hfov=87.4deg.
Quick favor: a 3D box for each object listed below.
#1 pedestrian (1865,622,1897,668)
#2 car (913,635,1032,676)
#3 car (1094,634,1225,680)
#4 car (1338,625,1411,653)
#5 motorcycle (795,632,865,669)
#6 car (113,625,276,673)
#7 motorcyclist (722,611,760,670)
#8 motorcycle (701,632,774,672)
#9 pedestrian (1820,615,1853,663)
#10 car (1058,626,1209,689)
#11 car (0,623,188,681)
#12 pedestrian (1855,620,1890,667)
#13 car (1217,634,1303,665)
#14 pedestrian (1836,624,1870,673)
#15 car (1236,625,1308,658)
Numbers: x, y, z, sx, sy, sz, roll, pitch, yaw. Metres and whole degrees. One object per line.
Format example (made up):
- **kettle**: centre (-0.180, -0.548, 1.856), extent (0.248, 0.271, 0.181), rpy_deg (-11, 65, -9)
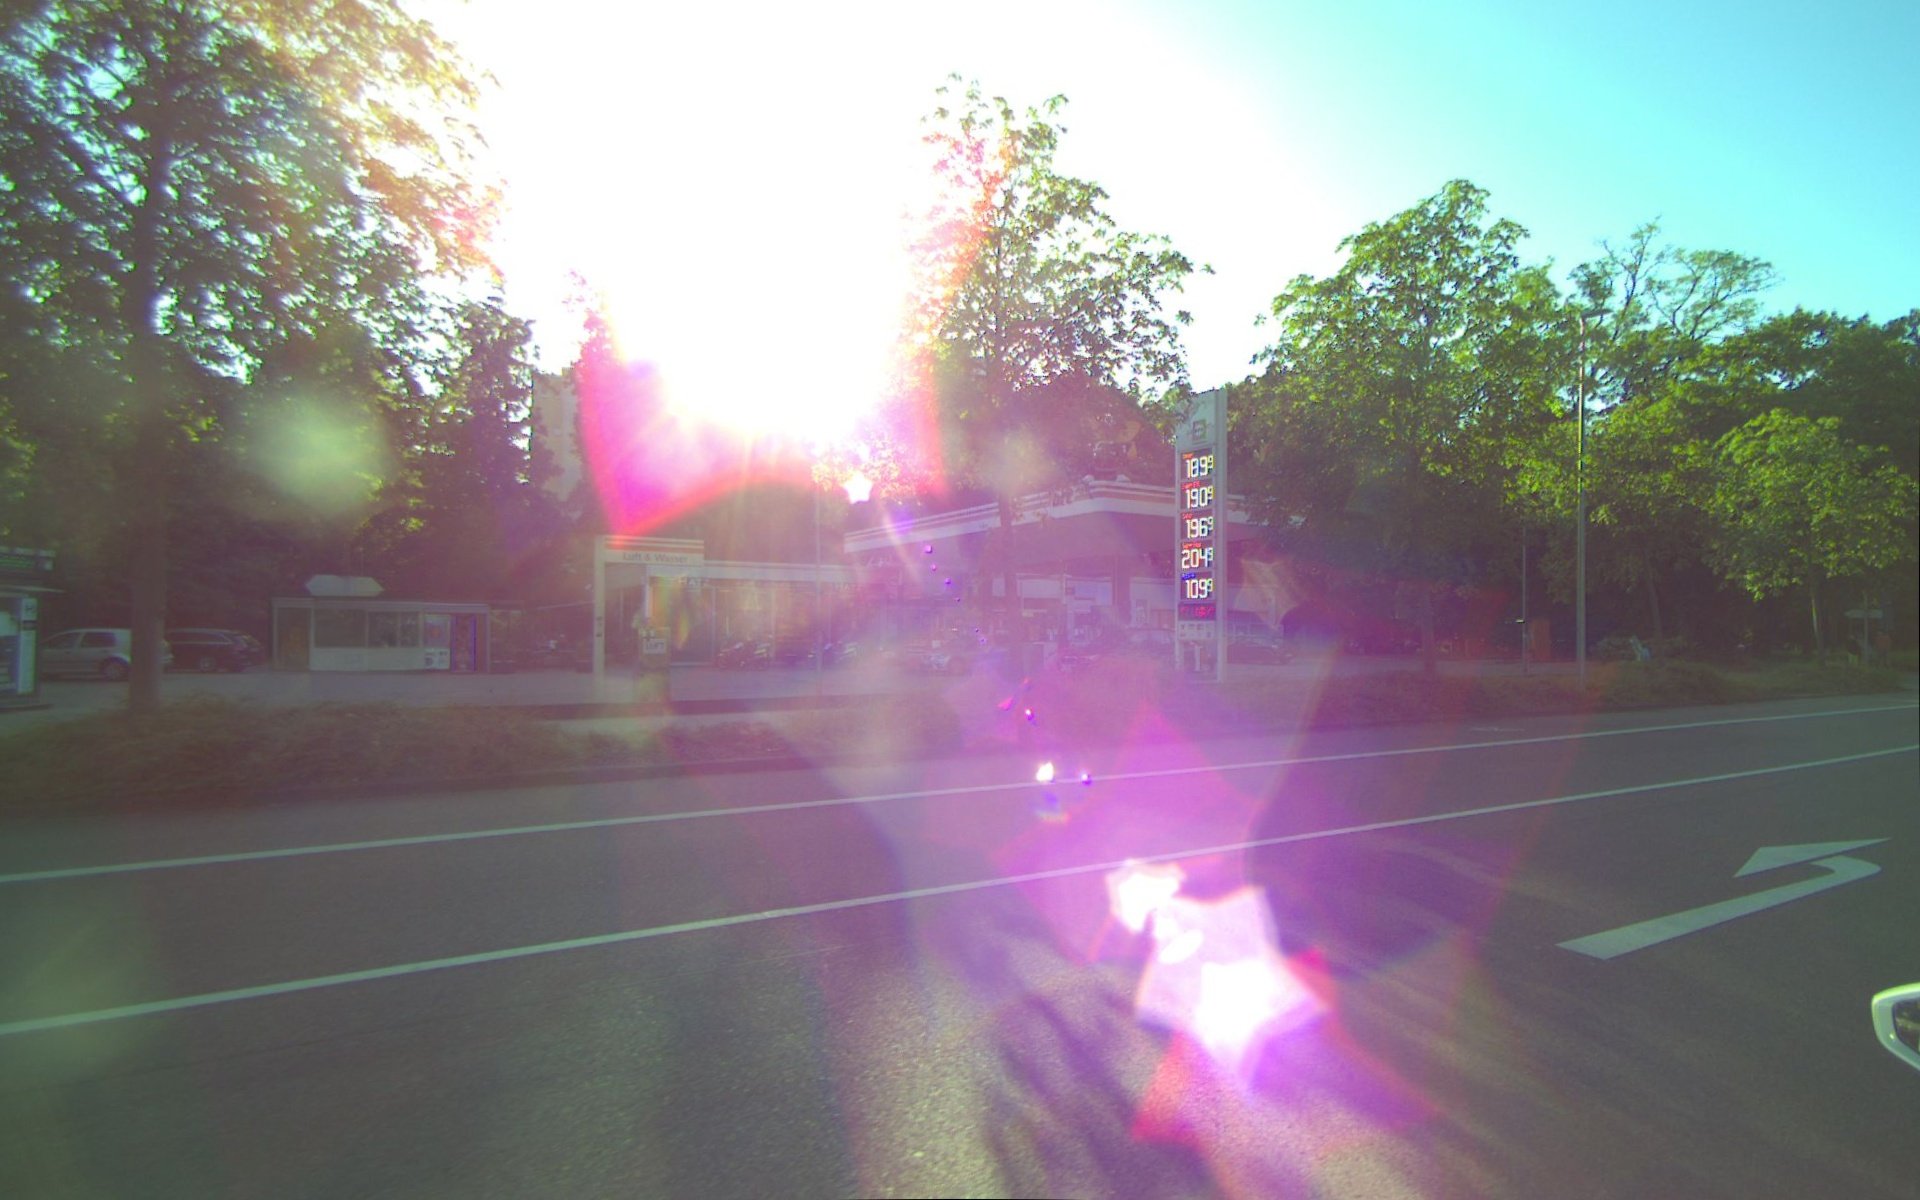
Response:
- **pedestrian**: centre (41.166, 2.003, 44.902), extent (0.732, 2.040, 0.719), rpy_deg (0, -1, 1)
- **car**: centre (0.468, 1.940, 35.849), extent (4.014, 1.394, 1.702), rpy_deg (1, -2, -32)
- **car**: centre (6.974, 1.955, 34.975), extent (4.526, 1.518, 1.702), rpy_deg (1, -2, -31)
- **car**: centre (28.574, 2.697, 69.280), extent (4.187, 1.844, 2.000), rpy_deg (0, -2, -1)
- **motorcycle**: centre (-5.175, 2.011, 40.066), extent (2.693, 1.470, 1.134), rpy_deg (0, -2, -4)
- **car**: centre (-25.617, 1.635, 33.771), extent (3.850, 1.557, 1.993), rpy_deg (1, -2, -17)
- **motorcyclist**: centre (-8.309, 1.523, 38.100), extent (0.996, 2.211, 1.124), rpy_deg (0, -2, 14)
- **motorcycle**: centre (-8.426, 1.973, 38.112), extent (2.455, 1.470, 1.135), rpy_deg (0, -2, 14)
- **pedestrian**: centre (37.524, 1.685, 42.996), extent (0.782, 2.040, 0.718), rpy_deg (0, -2, -8)
- **car**: centre (5.050, 1.622, 29.043), extent (4.408, 1.713, 1.700), rpy_deg (2, -2, -35)
- **car**: centre (-24.692, 1.448, 28.437), extent (3.950, 1.557, 1.996), rpy_deg (1, -2, -12)
- **pedestrian**: centre (40.625, 1.932, 44.722), extent (0.857, 2.040, 0.719), rpy_deg (0, -1, 1)
- **car**: centre (15.448, 2.530, 51.907), extent (1.880, 1.576, 3.962), rpy_deg (1, -2, -35)
- **pedestrian**: centre (38.311, 2.078, 43.096), extent (0.782, 2.040, 0.718), rpy_deg (1, -2, -8)
- **car**: centre (19.522, 2.580, 62.964), extent (1.981, 2.007, 3.960), rpy_deg (1, -2, -35)
